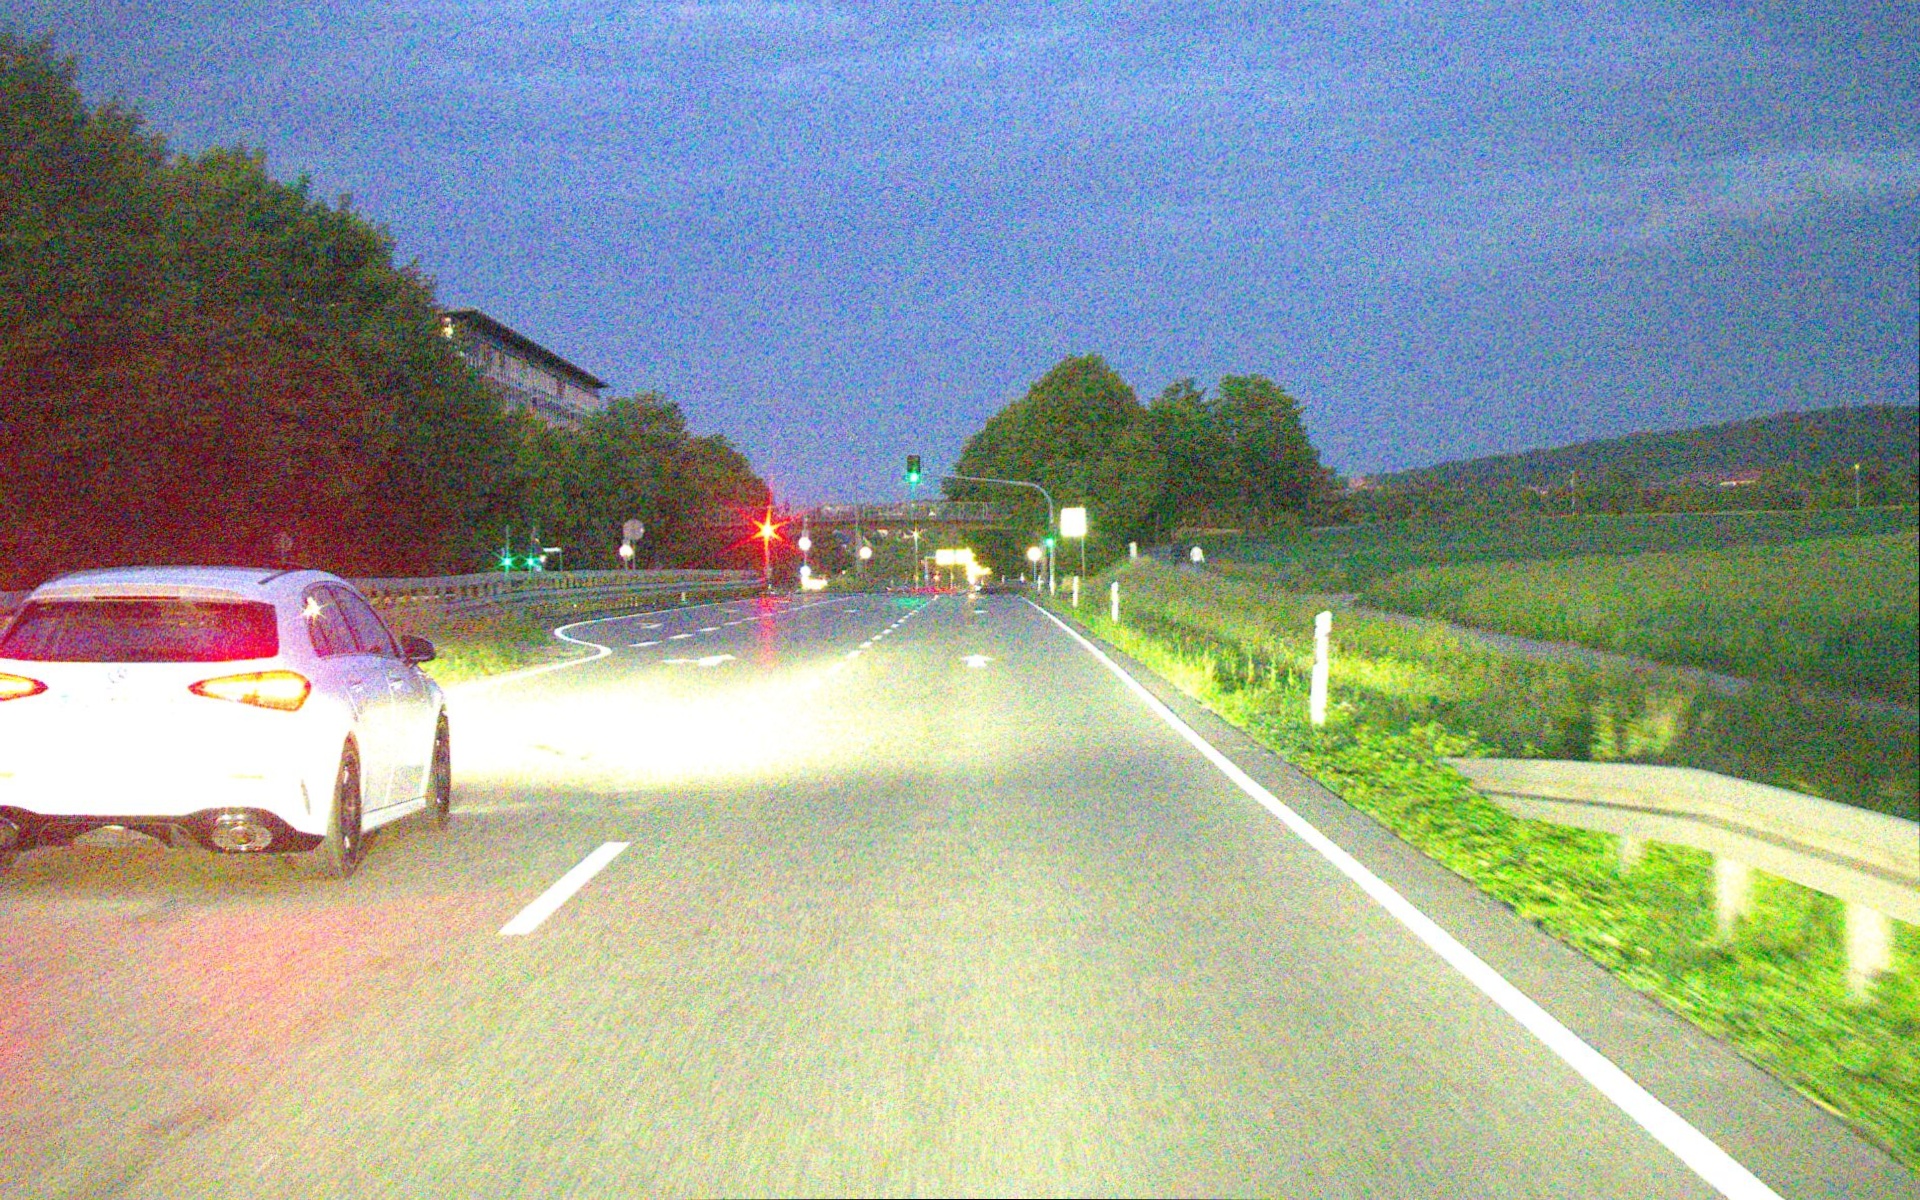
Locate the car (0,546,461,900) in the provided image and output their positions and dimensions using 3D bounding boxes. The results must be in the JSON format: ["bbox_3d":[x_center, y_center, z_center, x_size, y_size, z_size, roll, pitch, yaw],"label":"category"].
[{"bbox_3d":[-3.539,0.486,16.831,1.642,1.485,4.580,0,1,-2],"label":"car"}]

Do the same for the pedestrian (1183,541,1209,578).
[{"bbox_3d":[11.029,-1.892,160.791,1.090,1.717,1.260,0,0,0],"label":"pedestrian"}]

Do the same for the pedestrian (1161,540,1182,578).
[{"bbox_3d":[9.886,-1.917,160.636,0.922,1.787,1.106,0,1,0],"label":"pedestrian"}]
